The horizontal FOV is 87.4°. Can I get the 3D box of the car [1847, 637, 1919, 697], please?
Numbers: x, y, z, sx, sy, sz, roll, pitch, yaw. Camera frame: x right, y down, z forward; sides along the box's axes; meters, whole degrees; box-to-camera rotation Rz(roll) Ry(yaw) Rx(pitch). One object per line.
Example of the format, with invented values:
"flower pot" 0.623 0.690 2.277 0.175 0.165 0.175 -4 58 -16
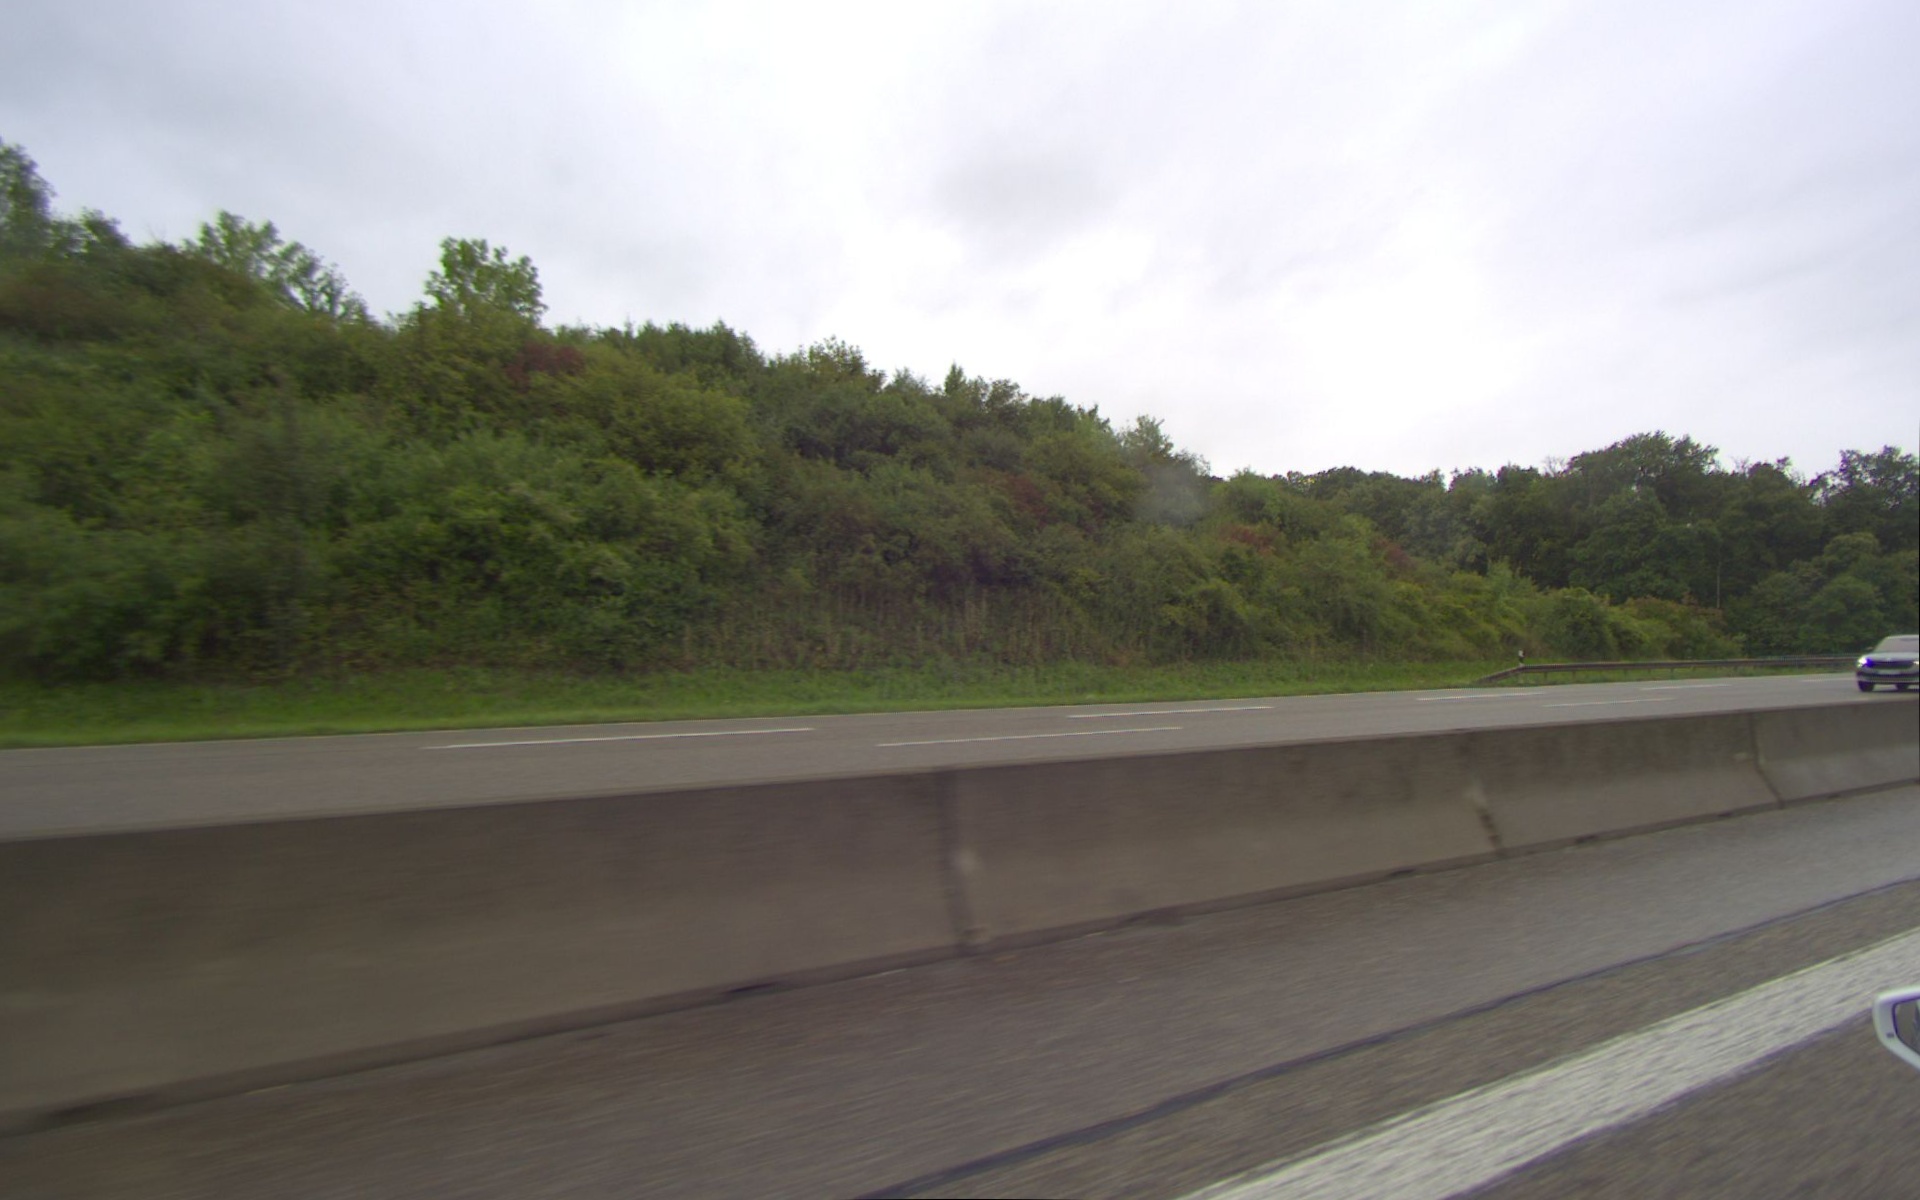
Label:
"car" 28.975 1.966 30.259 4.859 1.710 1.984 1 -2 -30
